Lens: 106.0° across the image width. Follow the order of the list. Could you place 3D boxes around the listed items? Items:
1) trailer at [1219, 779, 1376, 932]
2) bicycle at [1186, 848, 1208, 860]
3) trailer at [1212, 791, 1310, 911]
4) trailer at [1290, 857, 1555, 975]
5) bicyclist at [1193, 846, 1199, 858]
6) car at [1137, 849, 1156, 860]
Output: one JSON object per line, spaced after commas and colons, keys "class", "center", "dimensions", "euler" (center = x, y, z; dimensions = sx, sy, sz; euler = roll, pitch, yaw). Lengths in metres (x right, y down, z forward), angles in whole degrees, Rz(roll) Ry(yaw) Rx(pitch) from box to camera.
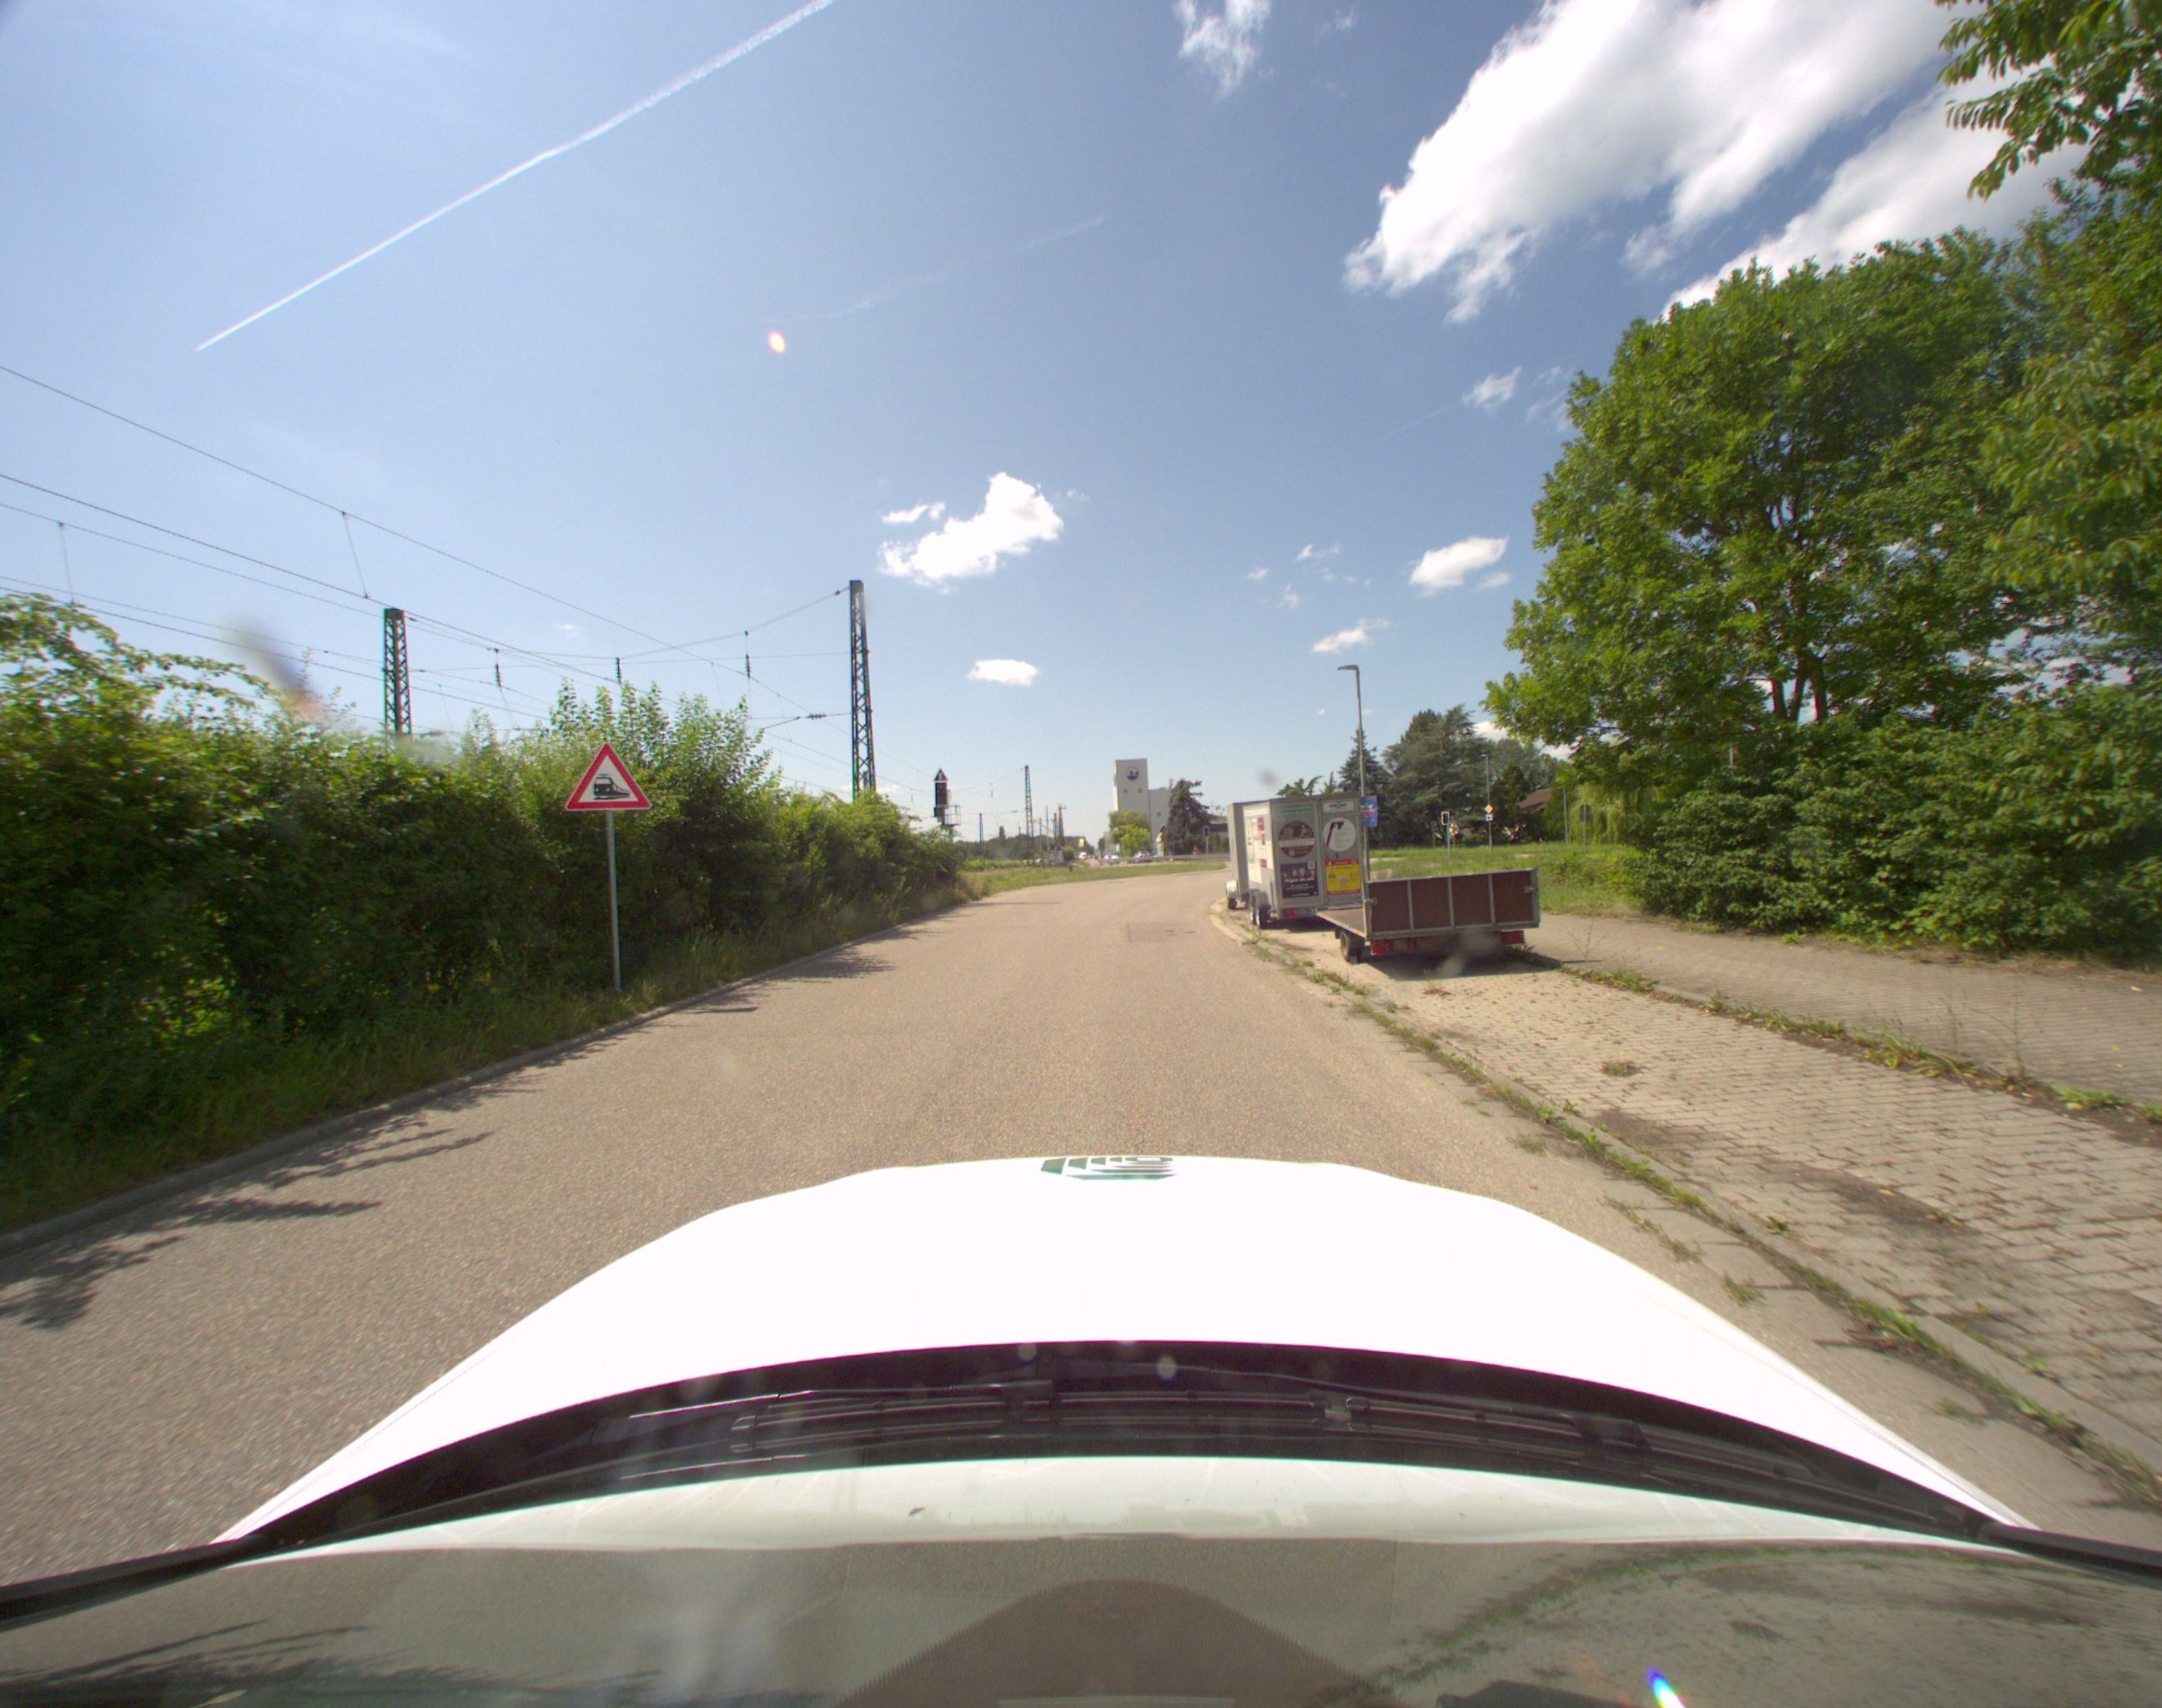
{"class": "trailer", "center": [4.203, 0.028, 16.666], "dimensions": [1.911, 2.508, 4.743], "euler": [-5, 0, 2]}
{"class": "bicycle", "center": [12.546, 0.012, 88.080], "dimensions": [2.119, 1.164, 0.665], "euler": [-3, 0, 28]}
{"class": "trailer", "center": [4.647, -0.085, 21.755], "dimensions": [1.922, 2.644, 5.195], "euler": [-5, 0, 8]}
{"class": "trailer", "center": [4.323, 0.703, 11.201], "dimensions": [1.995, 1.123, 4.494], "euler": [-5, -1, 5]}
{"class": "bicyclist", "center": [12.448, -0.236, 88.111], "dimensions": [0.505, 1.255, 0.472], "euler": [-3, 0, 28]}
{"class": "car", "center": [9.242, 0.055, 114.515], "dimensions": [1.990, 1.510, 4.448], "euler": [-3, 0, -4]}
